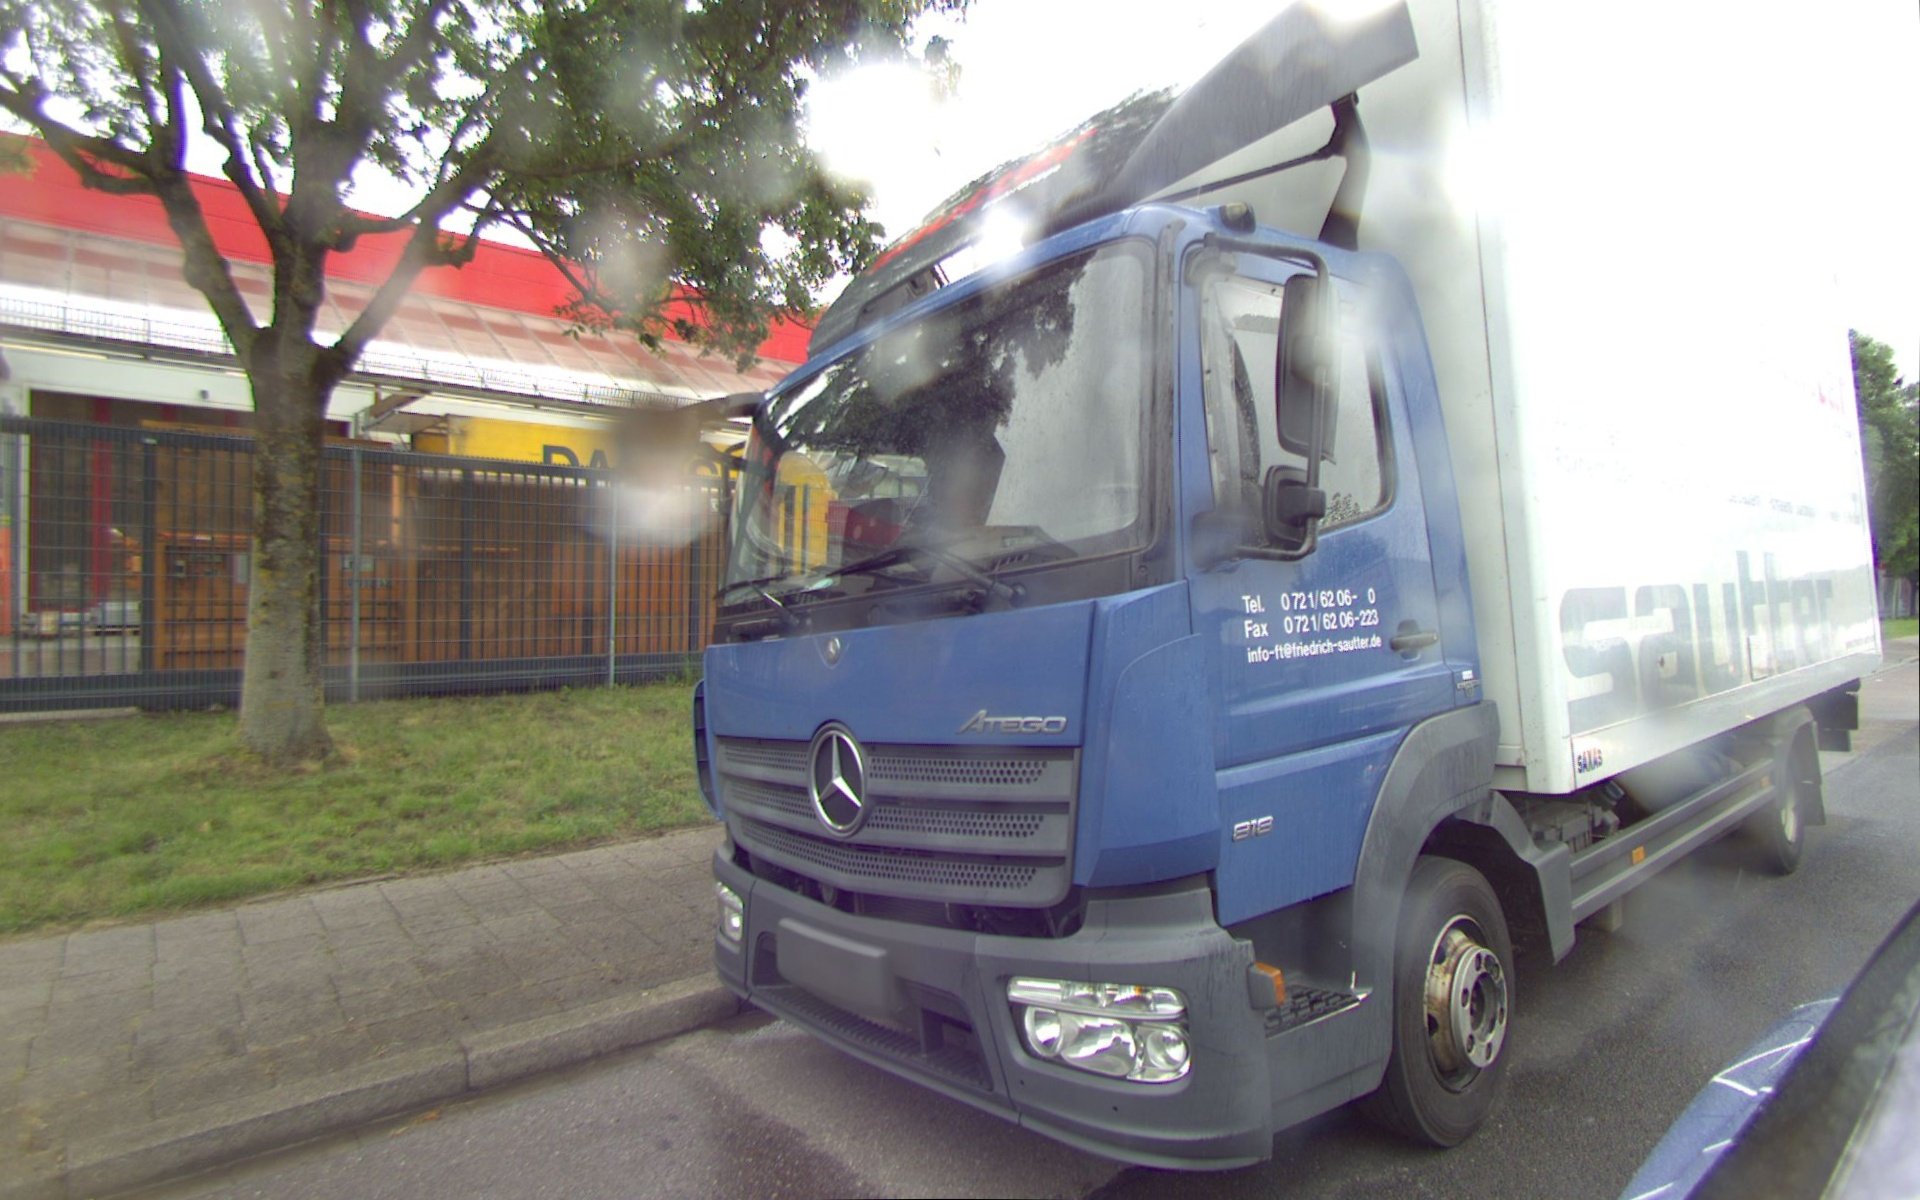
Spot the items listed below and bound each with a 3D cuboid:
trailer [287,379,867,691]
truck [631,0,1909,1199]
[{"bbox_3d":[-6.307,-1.031,18.162,9.306,4.295,2.972,-1,2,-41],"label":"trailer"},{"bbox_3d":[2.589,-0.393,5.422,7.867,3.740,2.676,0,-2,-40],"label":"truck"}]
